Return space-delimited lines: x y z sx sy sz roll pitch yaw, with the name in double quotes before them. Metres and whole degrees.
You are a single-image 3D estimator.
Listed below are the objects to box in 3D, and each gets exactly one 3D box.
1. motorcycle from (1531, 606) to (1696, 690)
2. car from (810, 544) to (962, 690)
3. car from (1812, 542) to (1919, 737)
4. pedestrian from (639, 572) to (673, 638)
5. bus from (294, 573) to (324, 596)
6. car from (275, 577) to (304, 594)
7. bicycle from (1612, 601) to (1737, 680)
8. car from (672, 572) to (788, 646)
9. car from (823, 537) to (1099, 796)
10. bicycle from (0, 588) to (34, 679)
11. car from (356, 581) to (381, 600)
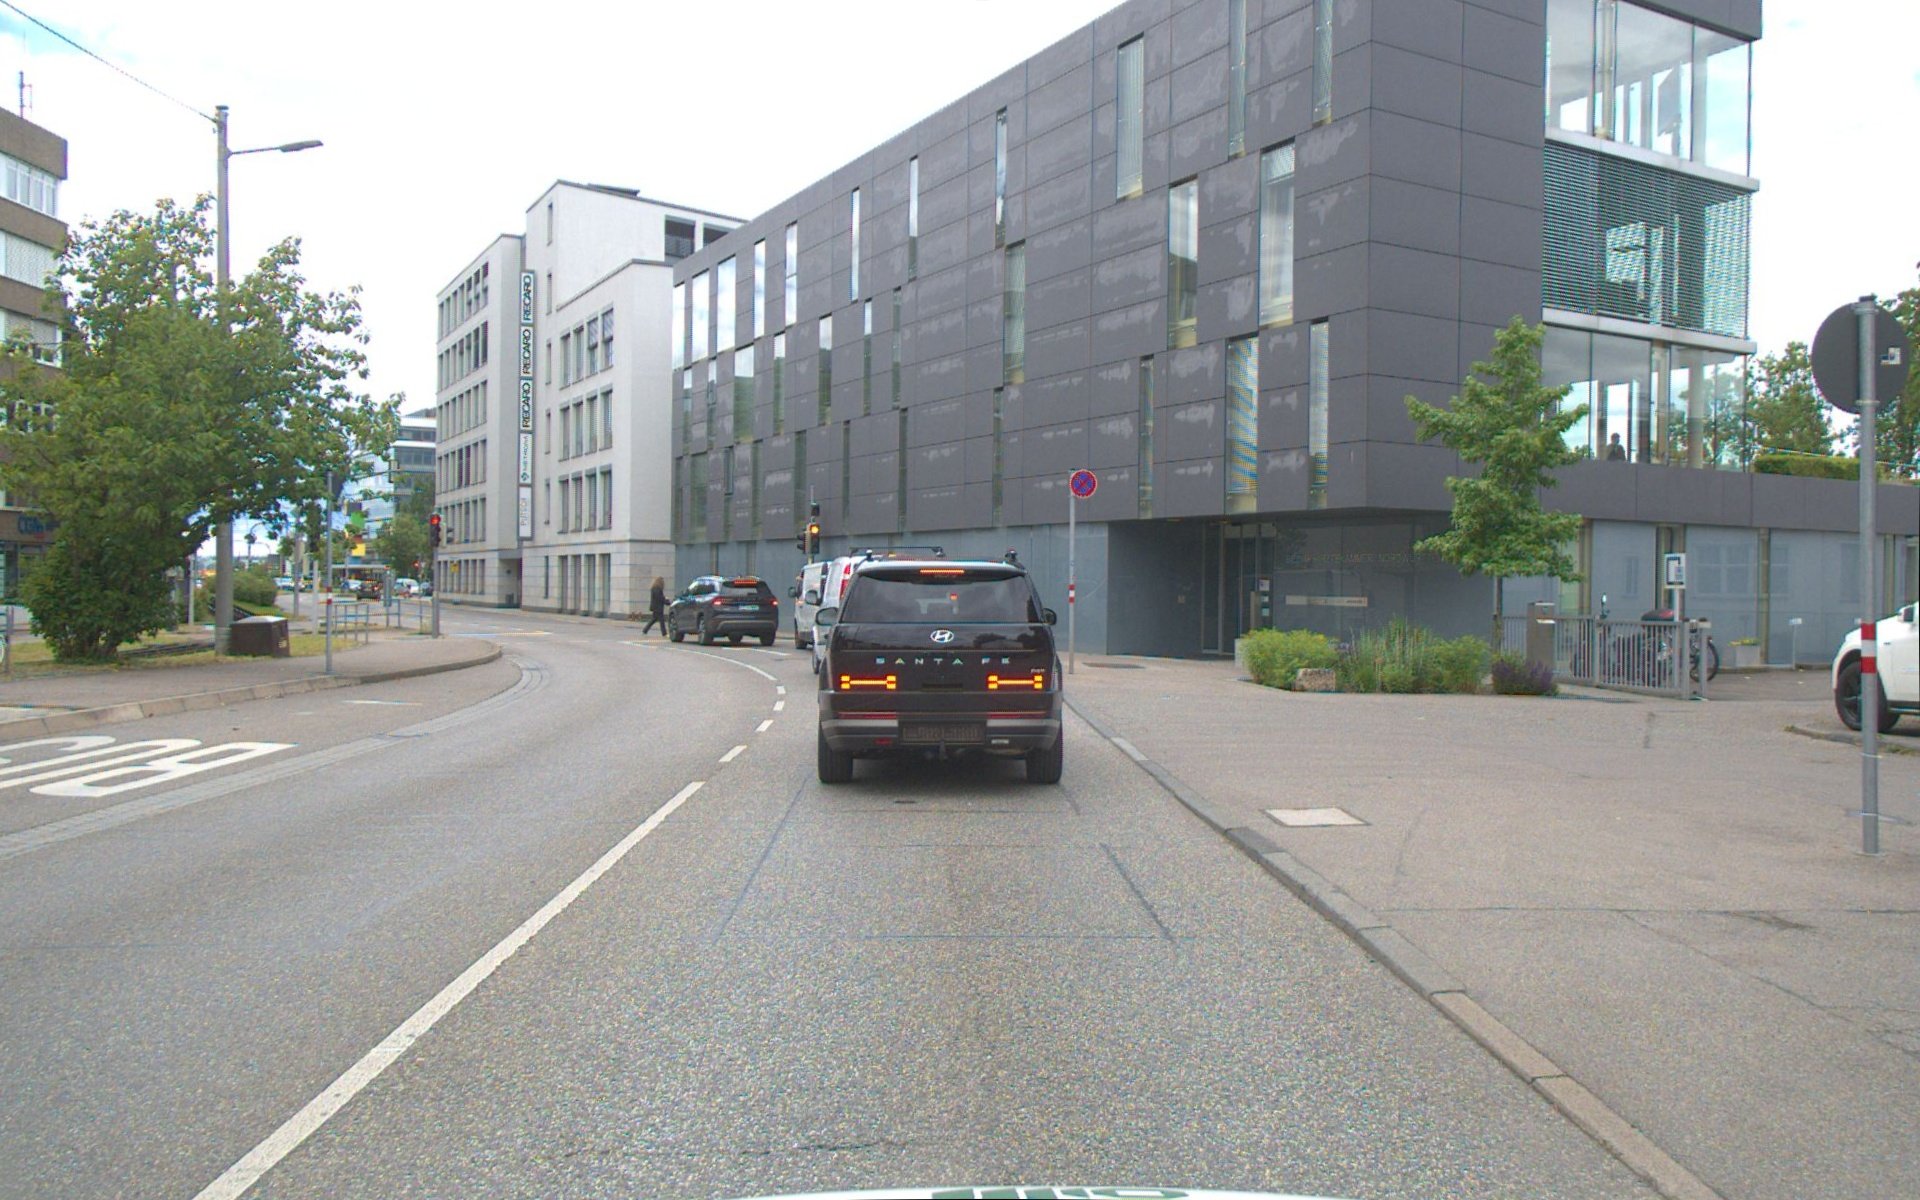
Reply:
"motorcycle" 10.818 0.760 27.490 0.836 1.282 2.670 0 1 -27
"car" -1.243 0.210 25.776 1.821 2.069 4.427 0 1 -10
"car" 10.204 0.361 15.512 1.953 1.870 4.516 -1 0 -2
"pedestrian" -8.459 0.132 45.991 0.922 1.832 0.589 0 0 -14
"bus" -91.841 -2.245 233.312 3.045 2.979 10.255 2 1 -26
"car" -69.144 -1.457 170.538 1.838 1.725 3.947 0 0 -37
"bicycle" 12.332 0.672 28.619 0.607 1.282 2.084 0 0 -27
"car" -5.755 0.215 41.003 1.822 1.706 4.345 -1 0 -22
"car" -0.141 0.448 13.634 1.877 1.755 4.167 2 0 -4
"bicycle" -12.882 0.391 20.835 2.056 1.125 0.631 1 0 -1
"car" -47.388 -0.790 132.528 1.871 1.512 3.978 0 1 -19
